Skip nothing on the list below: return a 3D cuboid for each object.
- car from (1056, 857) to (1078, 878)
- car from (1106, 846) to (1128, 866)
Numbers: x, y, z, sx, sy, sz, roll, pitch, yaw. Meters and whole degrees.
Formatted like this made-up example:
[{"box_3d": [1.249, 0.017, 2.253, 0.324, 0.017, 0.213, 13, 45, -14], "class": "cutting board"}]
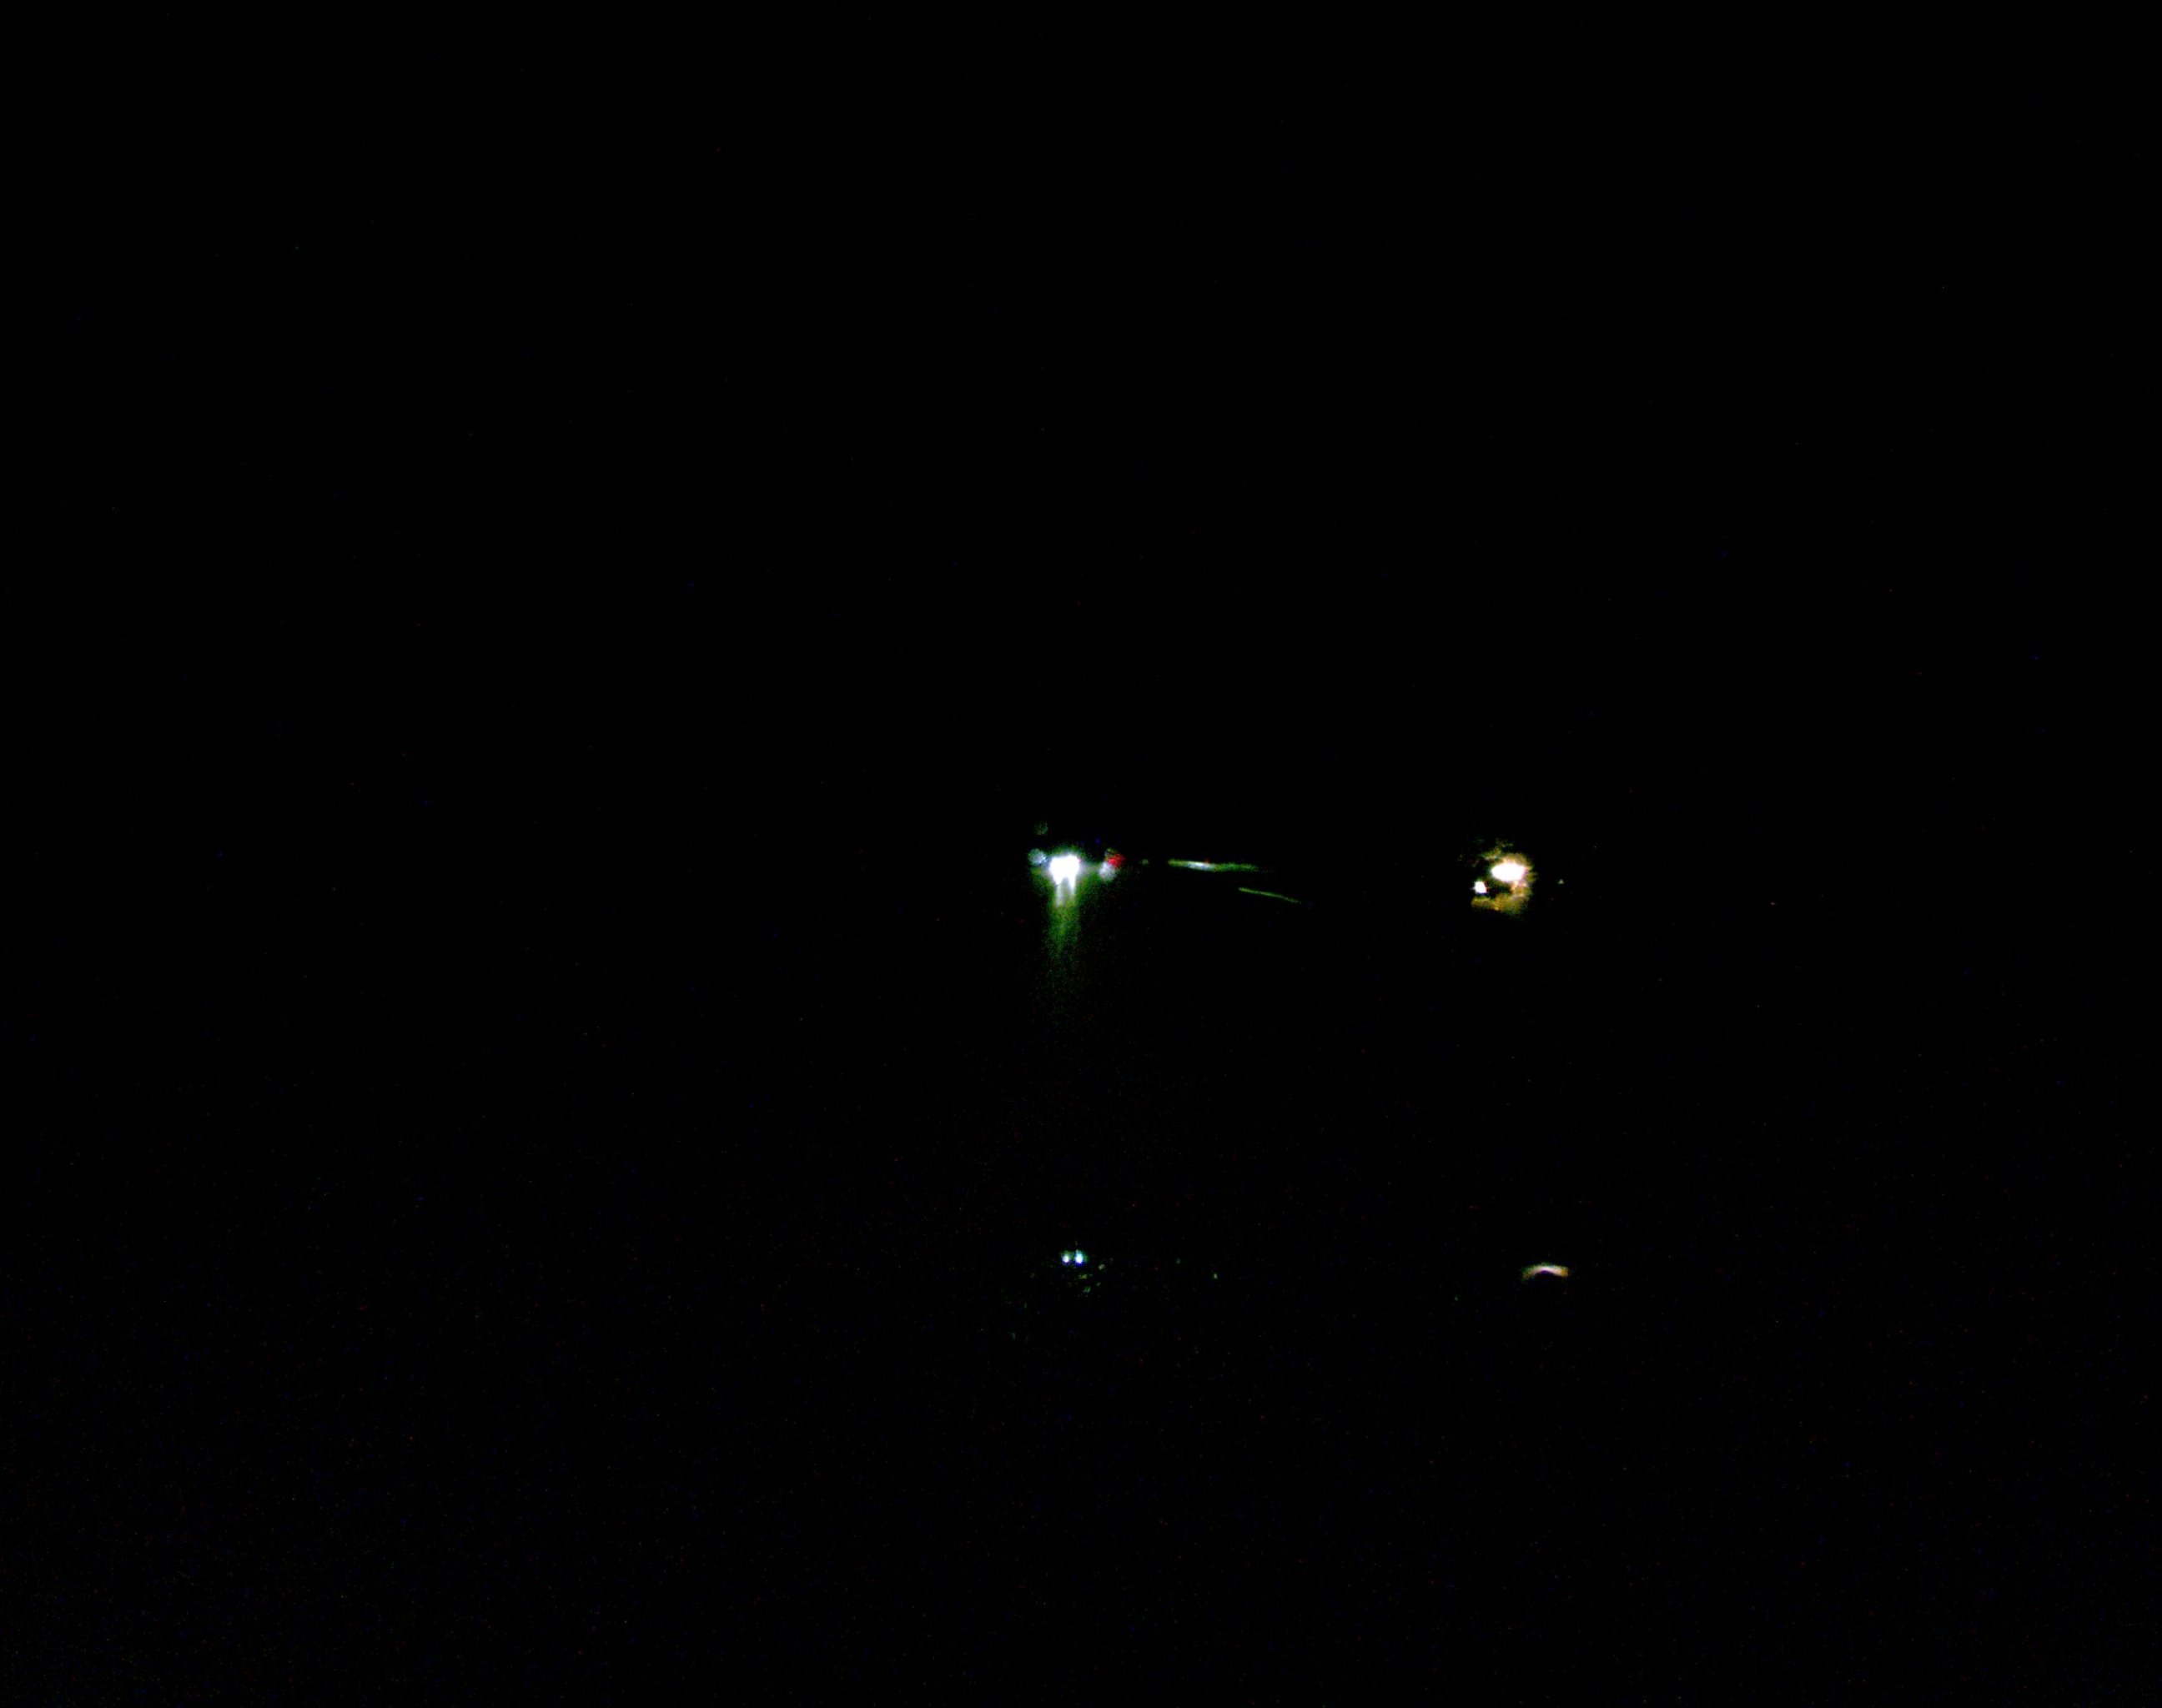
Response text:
[{"box_3d": [-1.652, 1.543, 88.668, 1.999, 2.003, 3.996, -5, 2, -6], "class": "car"}, {"box_3d": [3.310, 0.163, 70.908, 1.785, 1.657, 4.471, -5, 0, 0], "class": "car"}]
